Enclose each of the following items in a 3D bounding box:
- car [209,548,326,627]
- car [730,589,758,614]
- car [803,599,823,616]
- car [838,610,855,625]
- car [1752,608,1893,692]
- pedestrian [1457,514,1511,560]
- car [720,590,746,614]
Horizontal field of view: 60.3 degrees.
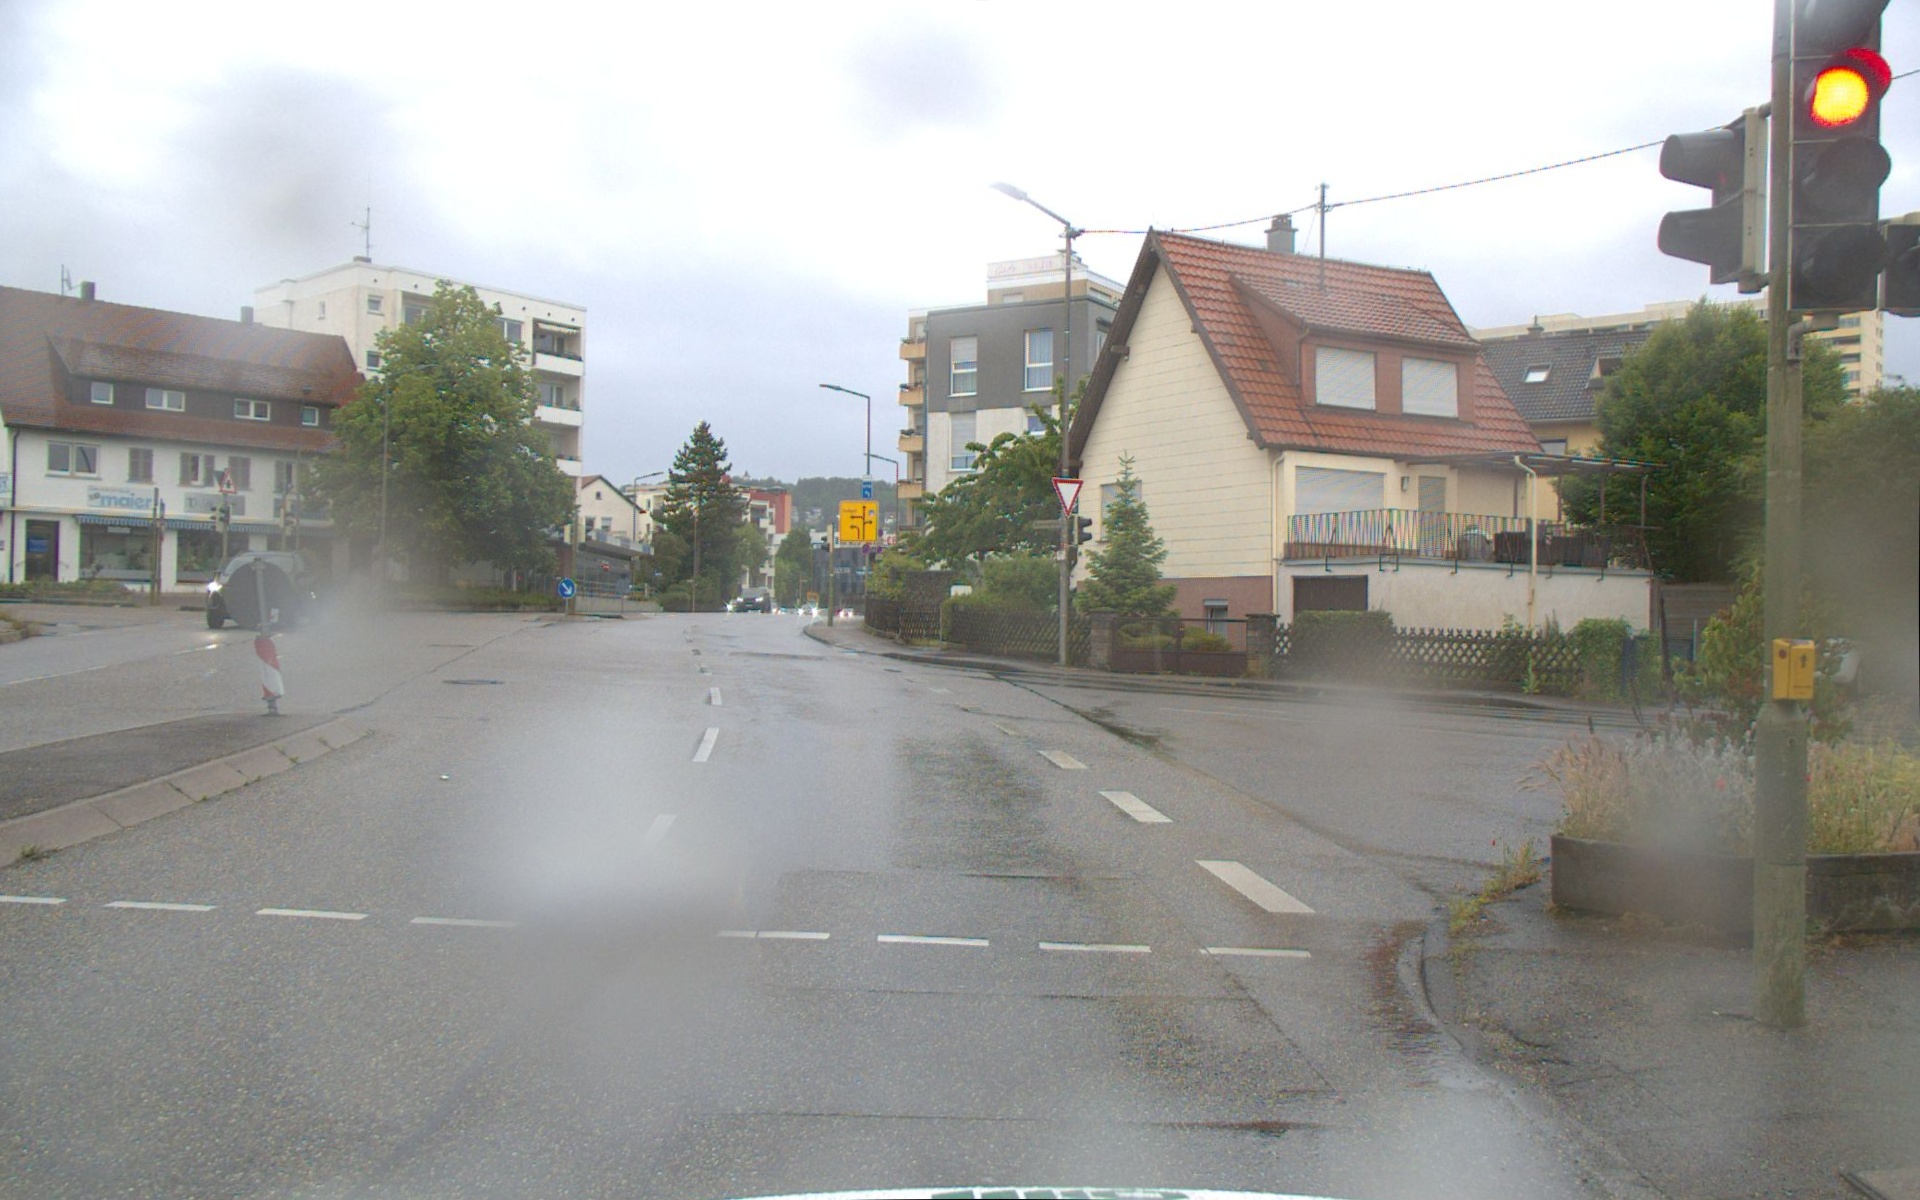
[{"bbox_3d":[-15.333,-0.259,36.800,1.848,1.625,4.167,1,0,-16],"label":"car"},{"bbox_3d":[-15.605,0.127,119.552,1.956,1.768,5.173,1,0,-7],"label":"car"},{"bbox_3d":[-14.815,0.750,166.848,1.955,1.708,3.995,1,0,-5],"label":"car"},{"bbox_3d":[-14.079,2.158,204.752,1.955,1.843,3.995,1,0,-5],"label":"car"},{"bbox_3d":[15.617,0.868,29.869,1.780,1.386,3.986,1,0,35],"label":"car"},{"bbox_3d":[11.147,-1.332,35.170,0.902,0.898,0.632,1,-2,-20],"label":"pedestrian"},{"bbox_3d":[-18.577,0.184,135.521,1.955,1.937,3.995,1,0,-5],"label":"car"}]
